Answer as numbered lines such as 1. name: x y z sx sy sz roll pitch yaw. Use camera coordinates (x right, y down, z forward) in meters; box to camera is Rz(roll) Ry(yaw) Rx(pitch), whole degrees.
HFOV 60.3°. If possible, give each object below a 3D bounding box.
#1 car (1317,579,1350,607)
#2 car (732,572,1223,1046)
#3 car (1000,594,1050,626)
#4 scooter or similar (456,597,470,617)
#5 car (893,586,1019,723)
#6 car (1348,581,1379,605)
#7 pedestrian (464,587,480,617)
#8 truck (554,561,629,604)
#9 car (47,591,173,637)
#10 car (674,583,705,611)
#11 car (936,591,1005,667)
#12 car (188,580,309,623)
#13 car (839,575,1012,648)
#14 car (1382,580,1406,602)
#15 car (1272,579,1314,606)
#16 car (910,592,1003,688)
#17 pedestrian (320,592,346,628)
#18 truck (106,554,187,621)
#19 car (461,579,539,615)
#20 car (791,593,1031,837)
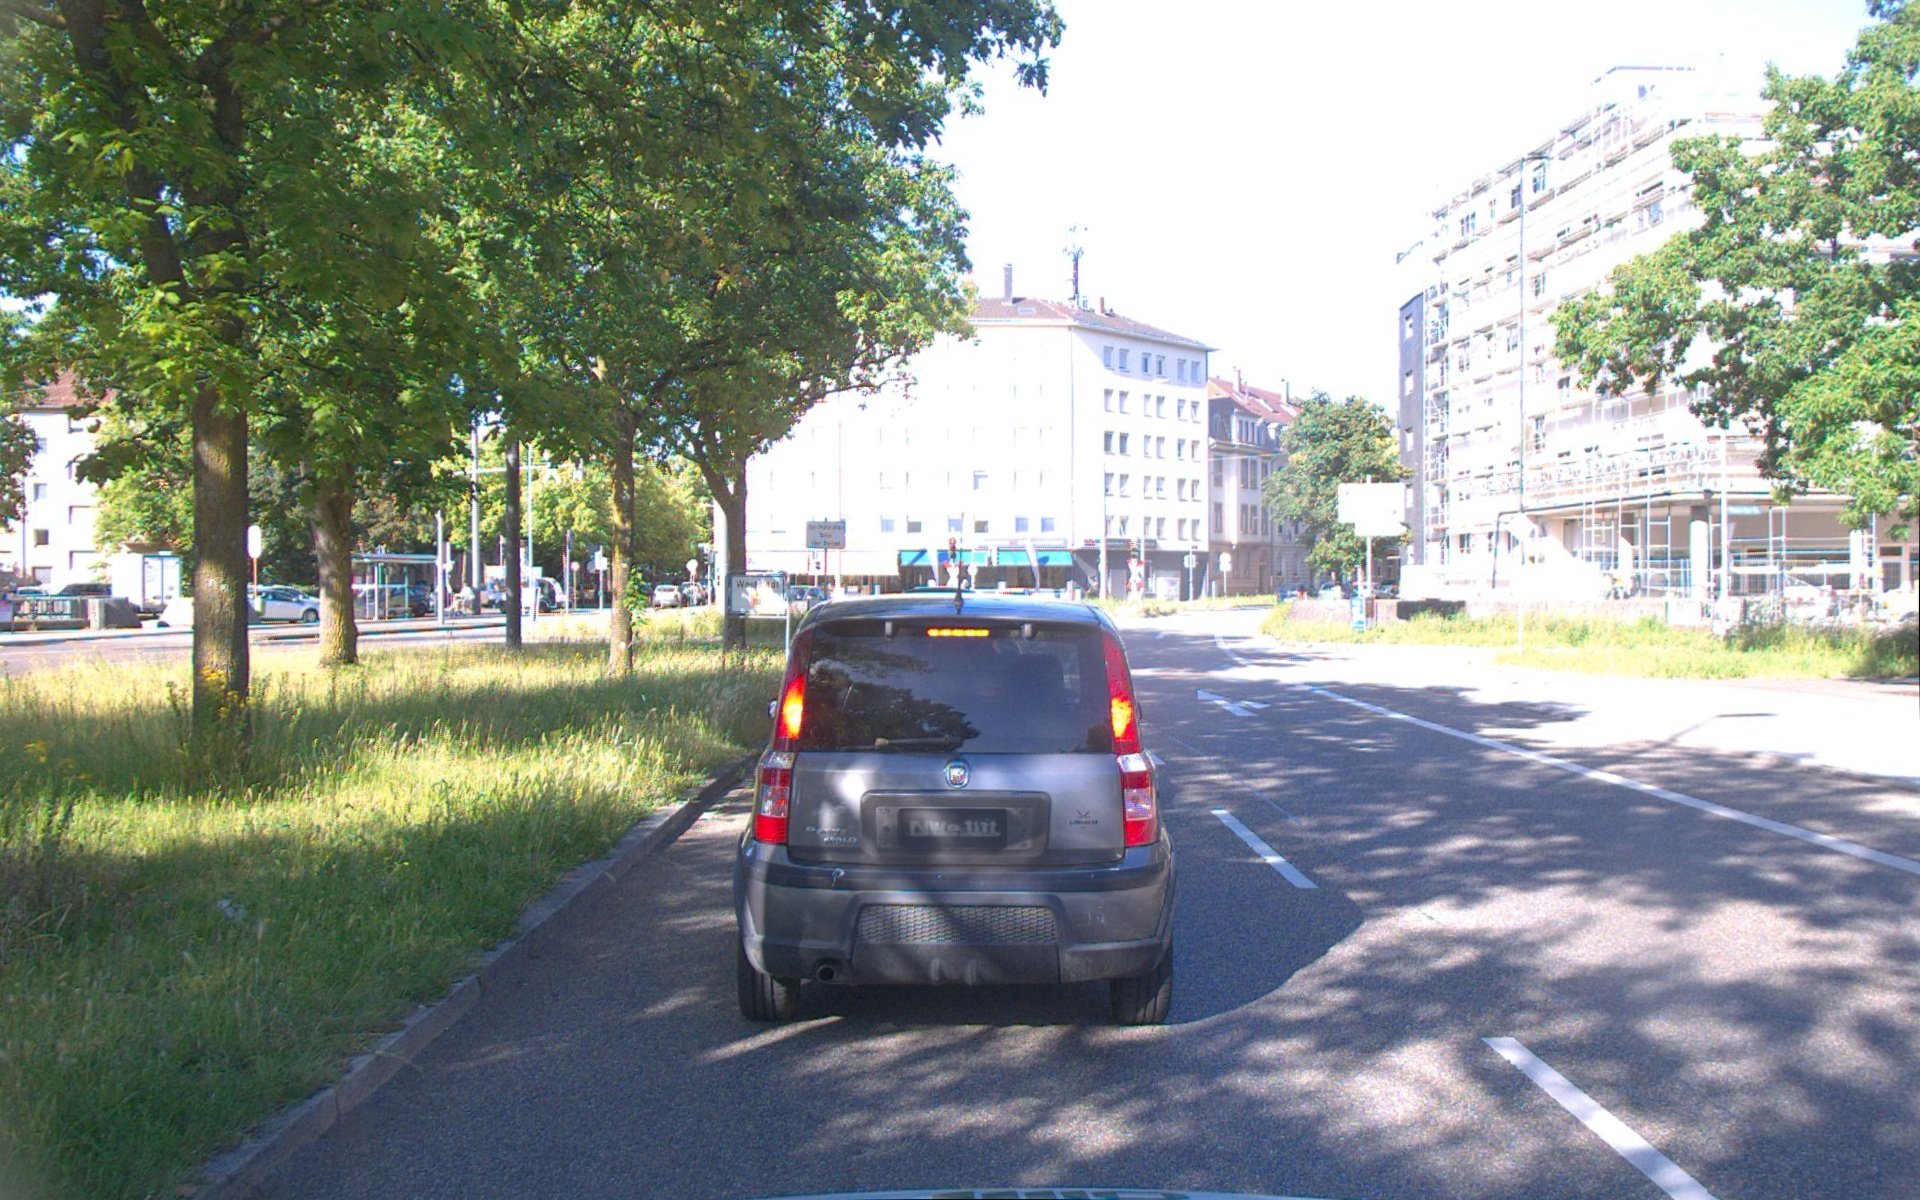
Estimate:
1. car: 20.501 -0.396 90.709 1.646 1.475 3.574 0 1 15
2. car: 0.031 0.658 7.407 1.595 1.534 3.999 0 1 -1
3. car: 2.282 0.331 57.697 1.118 1.083 2.723 0 1 17
4. scooter or similar: -23.328 0.312 77.633 0.411 0.943 0.534 0 0 25
5. car: -0.071 0.603 20.556 1.434 1.534 3.504 0 1 -1
6. car: 23.006 -0.398 94.239 1.495 1.337 3.289 0 1 17
7. pedestrian: -23.082 0.082 78.155 0.407 1.415 0.626 0 0 26
8. truck: -28.364 -1.357 127.361 5.371 3.224 2.341 0 0 28
9. car: -33.577 0.513 65.398 1.961 1.713 3.983 0 1 38
10. car: -20.159 -0.269 123.278 1.954 2.049 3.996 0 1 -5
11. car: 0.177 0.553 33.856 1.328 1.475 3.265 0 0 -1
12. car: -29.957 0.046 69.777 1.961 1.713 4.302 0 1 38
13. car: -0.900 0.327 44.349 4.351 1.677 1.833 -2 -4 9
14. car: 29.654 -0.604 112.966 1.495 1.495 3.289 0 1 17
15. car: 18.725 -0.414 92.833 1.648 1.475 3.571 0 1 23
16. car: -0.080 0.607 27.225 1.434 1.449 3.381 0 1 -1
17. pedestrian: -29.352 0.458 77.392 0.904 1.636 0.794 0 0 38
18. truck: -35.746 -0.555 72.683 3.932 2.854 1.987 0 1 44
19. car: -27.166 -0.192 97.858 4.093 2.049 1.930 0 0 -3
20. car: -0.319 0.681 11.623 1.434 1.425 3.393 0 1 -1
